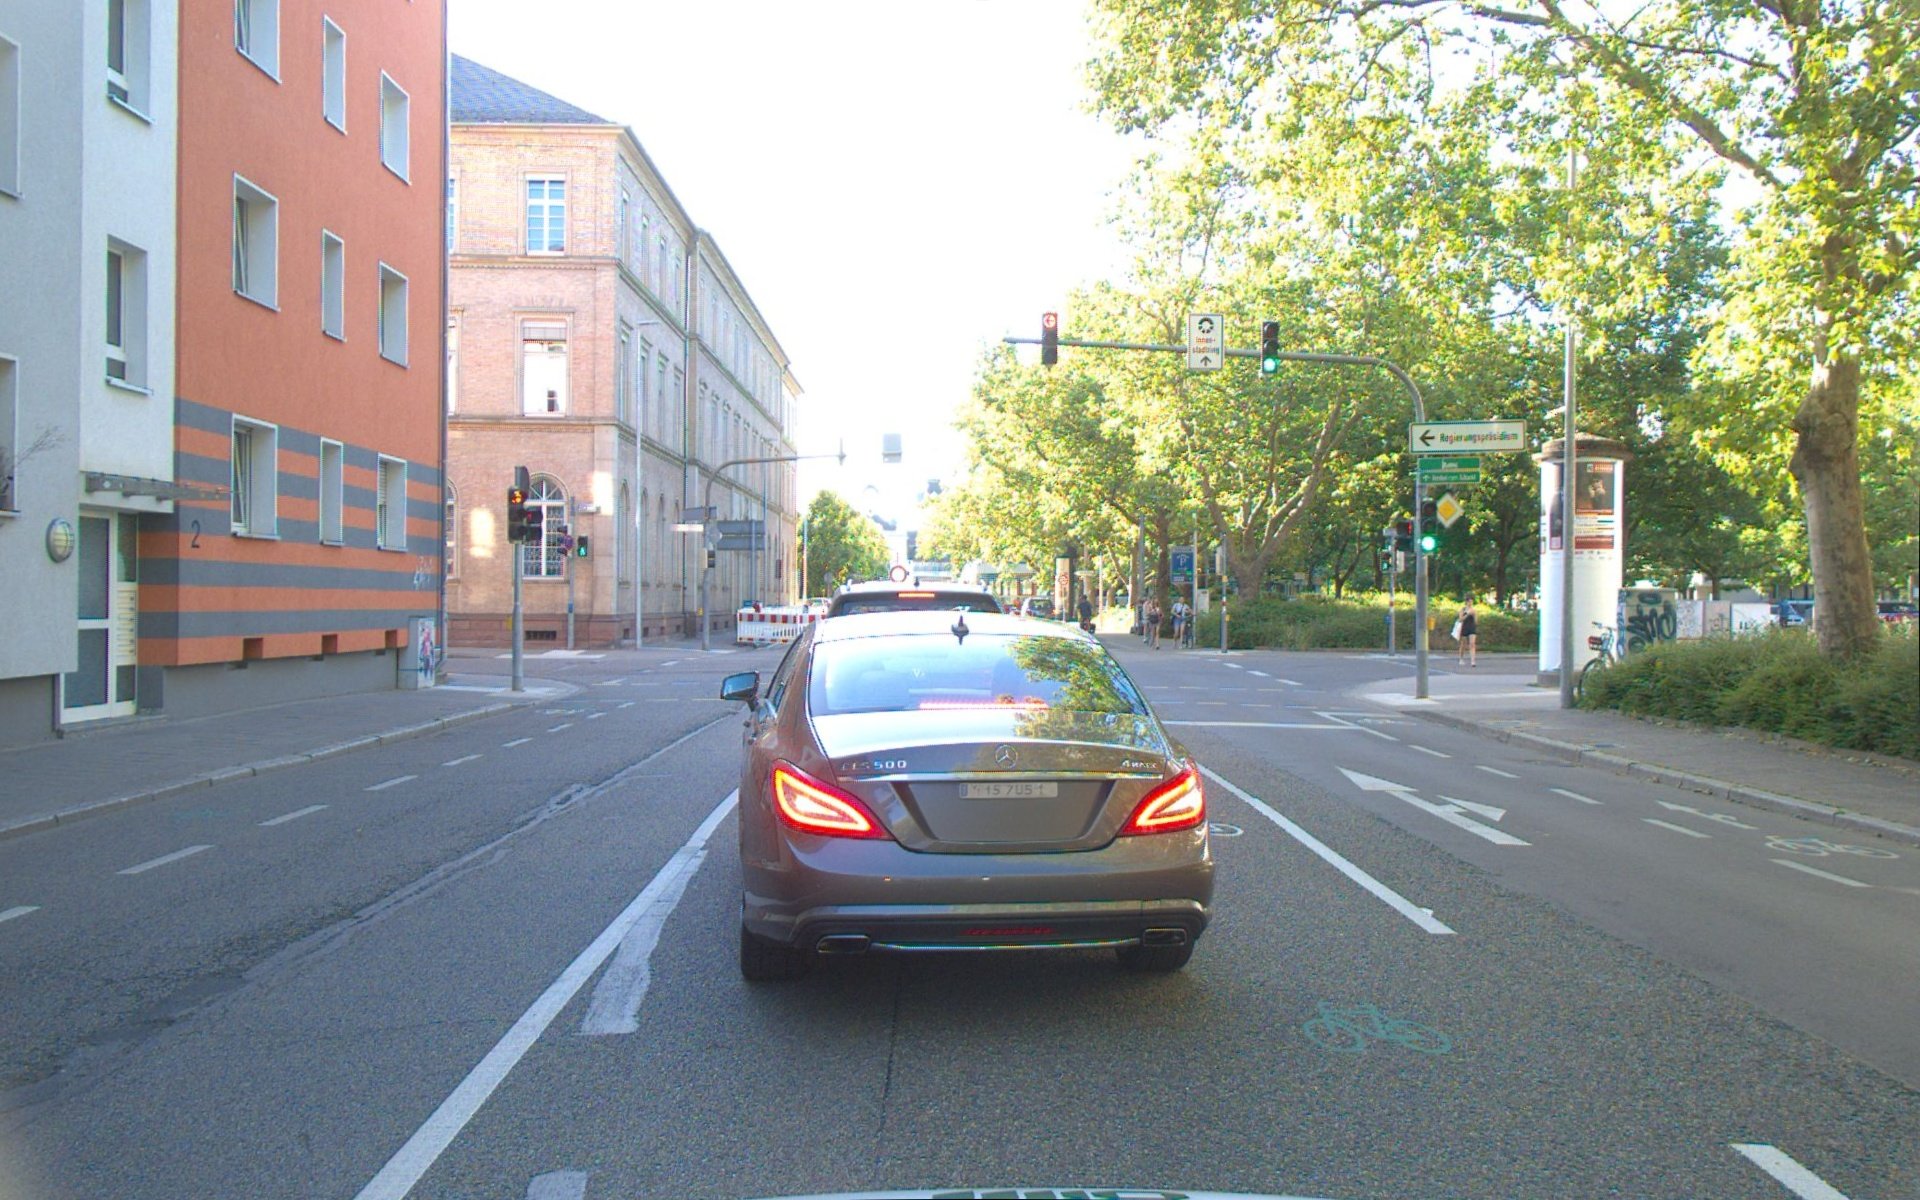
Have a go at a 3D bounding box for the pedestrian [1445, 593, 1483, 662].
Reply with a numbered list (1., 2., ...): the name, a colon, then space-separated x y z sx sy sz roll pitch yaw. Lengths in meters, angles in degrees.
1. pedestrian: 11.744 0.638 38.531 0.622 1.572 0.910 1 0 3

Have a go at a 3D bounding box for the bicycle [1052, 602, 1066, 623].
1. bicycle: 6.278 0.776 105.058 0.580 1.285 1.804 1 0 -5

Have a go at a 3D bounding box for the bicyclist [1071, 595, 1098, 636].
1. bicyclist: 4.363 0.540 58.085 0.719 1.422 0.697 1 -1 28

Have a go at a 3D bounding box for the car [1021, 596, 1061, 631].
1. car: 4.301 0.676 88.093 1.823 1.794 4.481 1 0 -1

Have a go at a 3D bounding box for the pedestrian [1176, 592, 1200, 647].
1. pedestrian: 7.496 0.644 54.325 0.623 1.791 0.698 1 -1 -5

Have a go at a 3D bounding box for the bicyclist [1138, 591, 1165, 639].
1. bicyclist: 6.781 0.527 58.574 0.808 1.646 0.957 1 0 -1

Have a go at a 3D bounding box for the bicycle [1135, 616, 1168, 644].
1. bicycle: 6.787 1.038 58.664 0.811 0.940 2.616 1 0 -1

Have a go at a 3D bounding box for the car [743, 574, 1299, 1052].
1. car: -0.032 0.692 7.470 1.826 1.545 3.993 1 0 -8

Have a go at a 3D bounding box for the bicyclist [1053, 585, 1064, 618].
1. bicyclist: 6.274 0.111 105.114 0.583 2.075 0.565 1 -1 -5

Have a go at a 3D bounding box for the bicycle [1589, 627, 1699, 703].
1. bicycle: 9.871 0.927 23.844 1.868 1.046 0.633 1 -1 -39

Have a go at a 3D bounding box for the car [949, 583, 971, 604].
1. car: -0.033 -0.540 135.066 1.696 1.691 3.680 1 0 -1

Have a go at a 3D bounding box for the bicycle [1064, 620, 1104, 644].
1. bicycle: 4.364 1.117 58.107 0.709 0.805 1.925 1 0 27

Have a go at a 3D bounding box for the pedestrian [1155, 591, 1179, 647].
1. pedestrian: 6.825 0.637 54.597 0.623 1.828 0.698 1 -1 -5

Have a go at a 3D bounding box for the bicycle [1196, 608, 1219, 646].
1. bicycle: 8.098 0.870 54.191 0.472 1.223 1.606 1 0 -1

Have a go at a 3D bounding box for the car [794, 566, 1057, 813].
1. car: -0.269 0.622 13.598 1.823 1.712 3.999 1 0 -1
